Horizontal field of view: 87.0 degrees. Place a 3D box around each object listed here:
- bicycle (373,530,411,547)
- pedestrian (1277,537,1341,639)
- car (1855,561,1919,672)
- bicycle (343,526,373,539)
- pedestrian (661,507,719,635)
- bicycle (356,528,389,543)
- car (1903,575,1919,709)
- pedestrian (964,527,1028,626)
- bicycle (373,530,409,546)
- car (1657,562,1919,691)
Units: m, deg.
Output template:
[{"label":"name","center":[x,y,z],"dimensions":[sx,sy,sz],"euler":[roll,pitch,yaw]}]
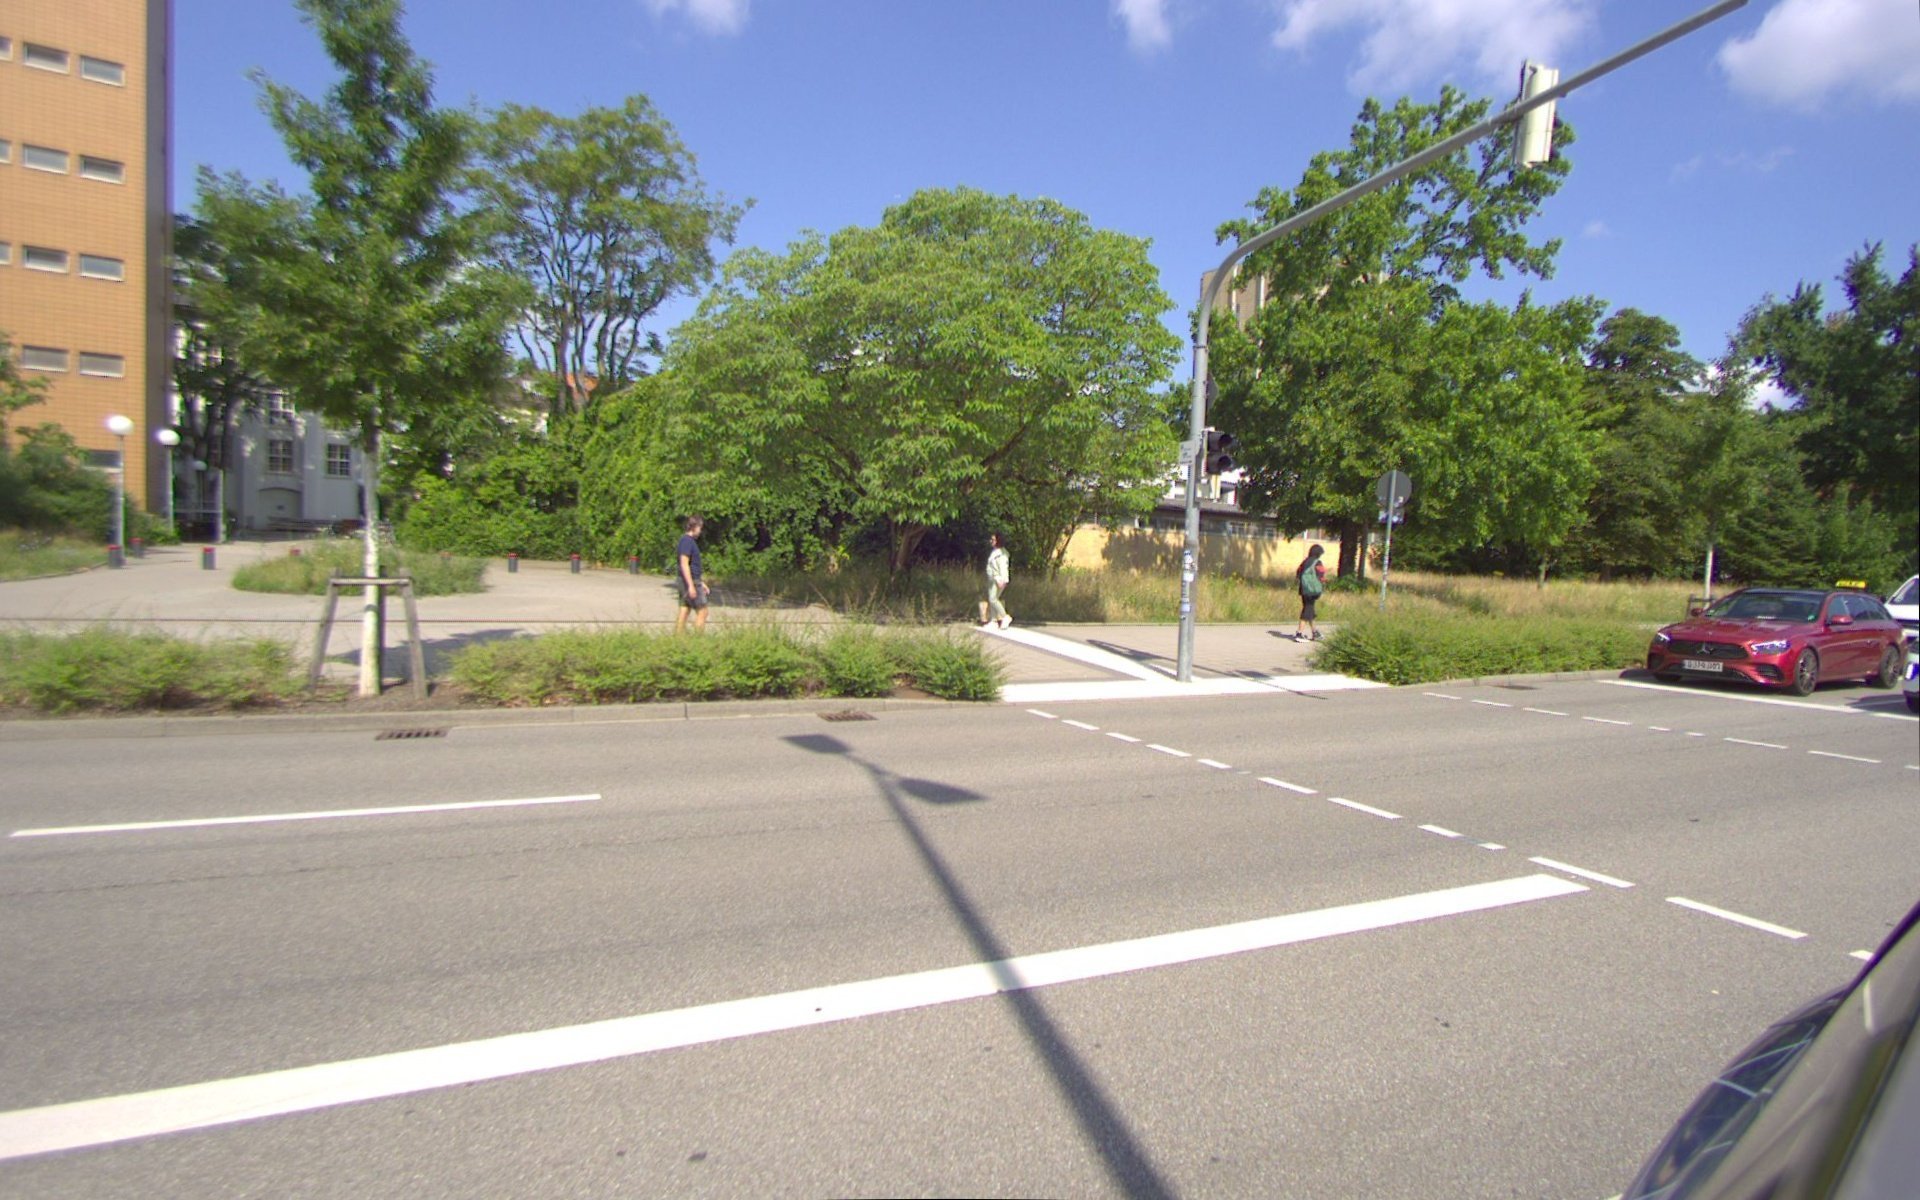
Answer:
[{"label":"bicycle","center":[-26.922,-2.919,47.977],"dimensions":[1.527,0.728,0.510],"euler":[0,3,-28]},{"label":"pedestrian","center":[6.172,-0.229,17.913],"dimensions":[0.665,1.756,0.746],"euler":[1,3,-27]},{"label":"car","center":[18.739,0.324,18.592],"dimensions":[4.728,1.893,1.952],"euler":[1,3,-30]},{"label":"bicycle","center":[-37.254,-4.166,62.629],"dimensions":[1.527,0.728,0.510],"euler":[0,3,-28]},{"label":"pedestrian","center":[-3.353,-0.358,12.546],"dimensions":[0.540,1.526,0.774],"euler":[1,2,-25]},{"label":"bicycle","center":[-31.502,-3.443,54.272],"dimensions":[1.527,0.728,0.510],"euler":[0,3,-28]},{"label":"car","center":[13.290,0.534,12.135],"dimensions":[3.930,1.558,1.799],"euler":[1,1,-30]},{"label":"pedestrian","center":[0.604,-0.414,17.399],"dimensions":[0.706,1.658,0.872],"euler":[1,3,-29]},{"label":"bicycle","center":[-28.340,-3.083,50.426],"dimensions":[1.527,0.728,0.510],"euler":[0,3,-28]},{"label":"car","center":[12.521,0.339,15.154],"dimensions":[4.373,1.661,1.689],"euler":[1,2,-31]}]
